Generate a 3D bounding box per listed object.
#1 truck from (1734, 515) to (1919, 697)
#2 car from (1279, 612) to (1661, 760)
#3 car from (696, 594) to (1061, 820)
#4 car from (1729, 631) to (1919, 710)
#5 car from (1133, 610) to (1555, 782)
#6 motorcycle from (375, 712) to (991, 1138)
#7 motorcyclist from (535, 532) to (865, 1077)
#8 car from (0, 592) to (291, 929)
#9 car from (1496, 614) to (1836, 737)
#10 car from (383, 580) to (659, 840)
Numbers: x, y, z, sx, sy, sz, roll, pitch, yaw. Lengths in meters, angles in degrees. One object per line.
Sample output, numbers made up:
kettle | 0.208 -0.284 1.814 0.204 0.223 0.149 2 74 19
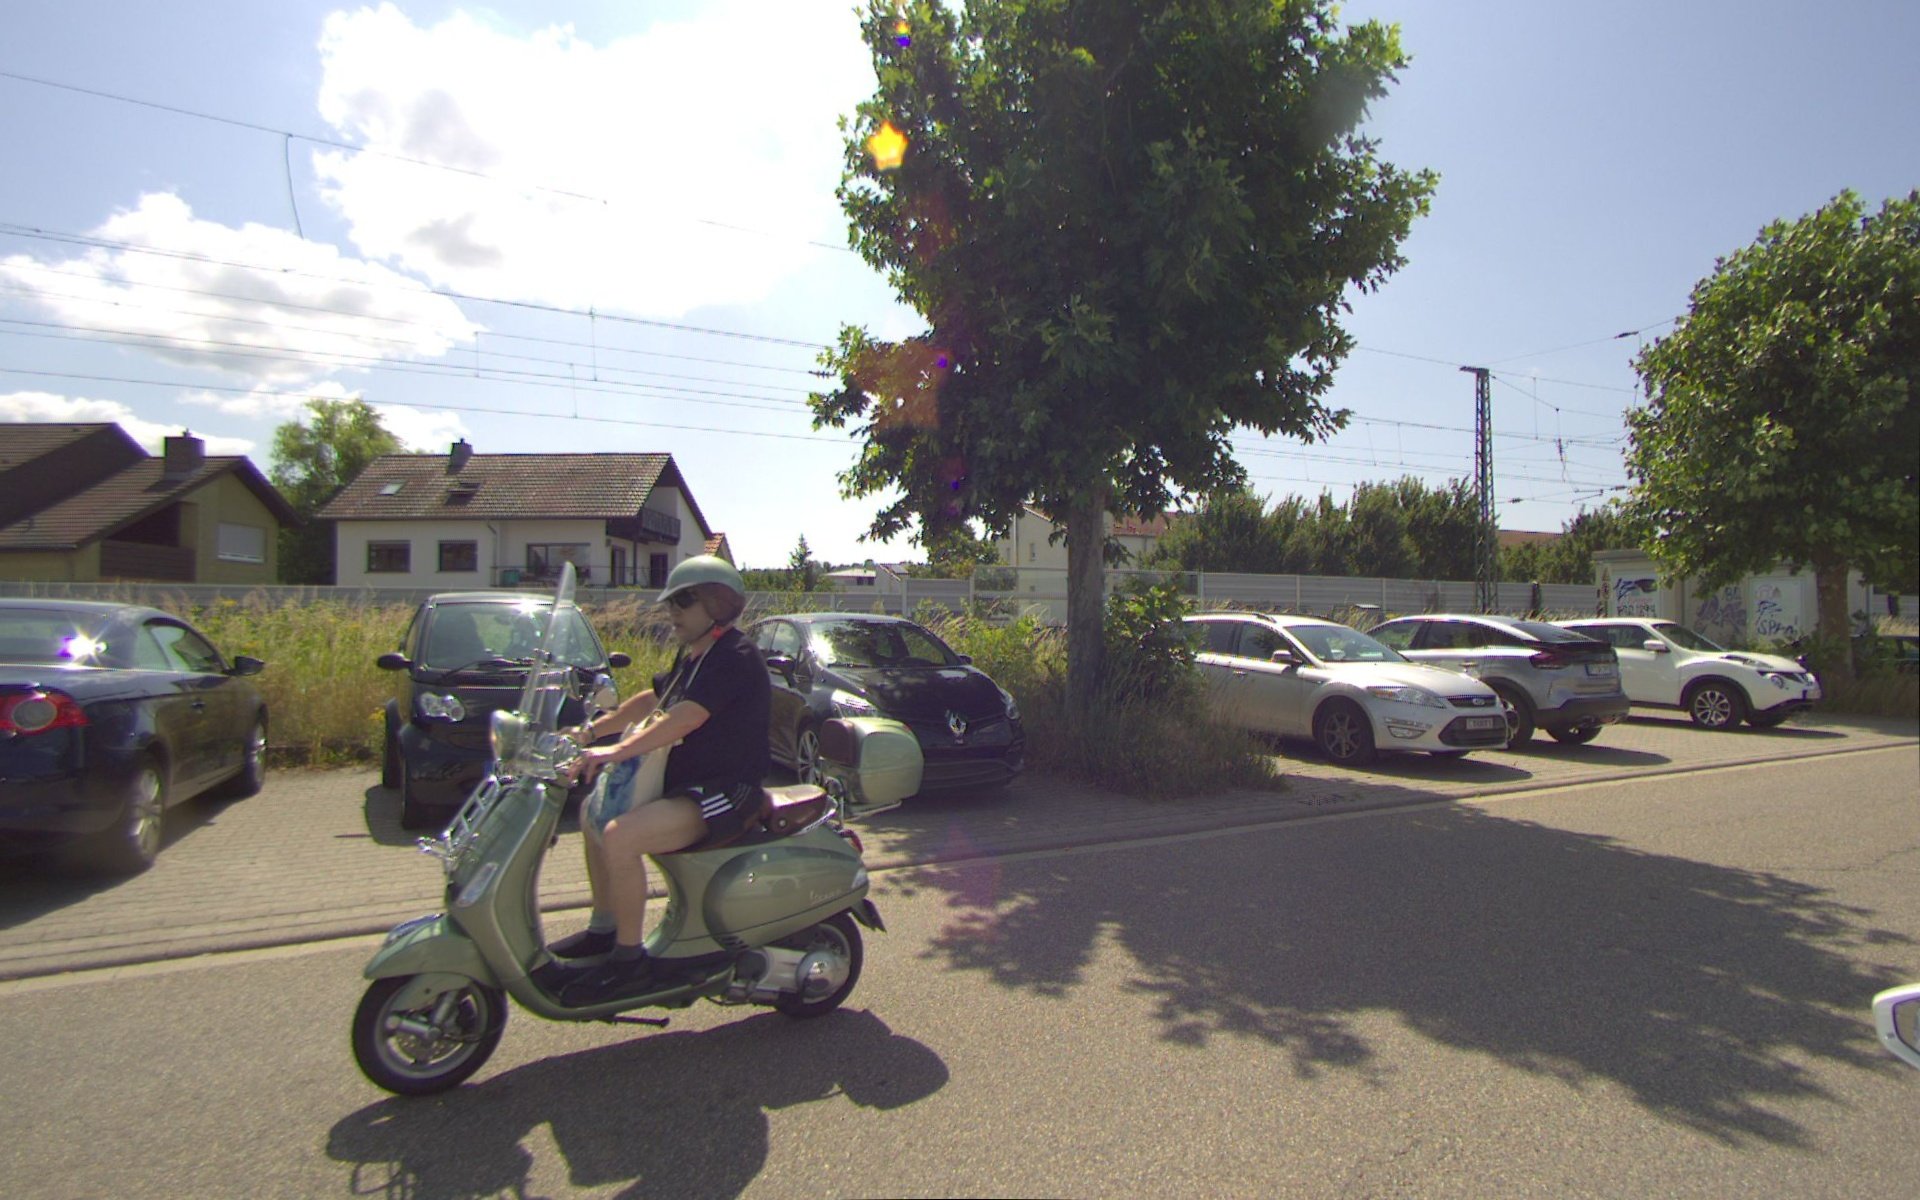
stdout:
truck | 21.462 0.149 22.093 2.633 3.873 6.582 1 -1 -30
car | 6.311 0.967 12.886 1.977 1.568 3.968 1 -2 -30
car | -0.965 0.787 8.867 1.764 1.492 4.057 1 -2 -28
car | 17.906 1.347 19.663 1.850 1.413 4.188 1 -1 -30
car | 4.084 0.899 11.455 1.903 1.553 4.319 1 -1 -29
motorcycle | -0.846 0.960 3.414 1.931 1.064 0.461 2 -1 -29
motorcyclist | -0.895 0.587 3.388 0.910 1.529 0.772 1 -1 -29
car | -5.450 0.742 5.983 1.762 1.469 3.935 1 -2 -24
car | 10.779 1.069 15.626 1.830 1.639 3.949 1 -2 -32
car | -3.544 0.724 7.814 1.584 1.558 3.173 2 -2 -30
